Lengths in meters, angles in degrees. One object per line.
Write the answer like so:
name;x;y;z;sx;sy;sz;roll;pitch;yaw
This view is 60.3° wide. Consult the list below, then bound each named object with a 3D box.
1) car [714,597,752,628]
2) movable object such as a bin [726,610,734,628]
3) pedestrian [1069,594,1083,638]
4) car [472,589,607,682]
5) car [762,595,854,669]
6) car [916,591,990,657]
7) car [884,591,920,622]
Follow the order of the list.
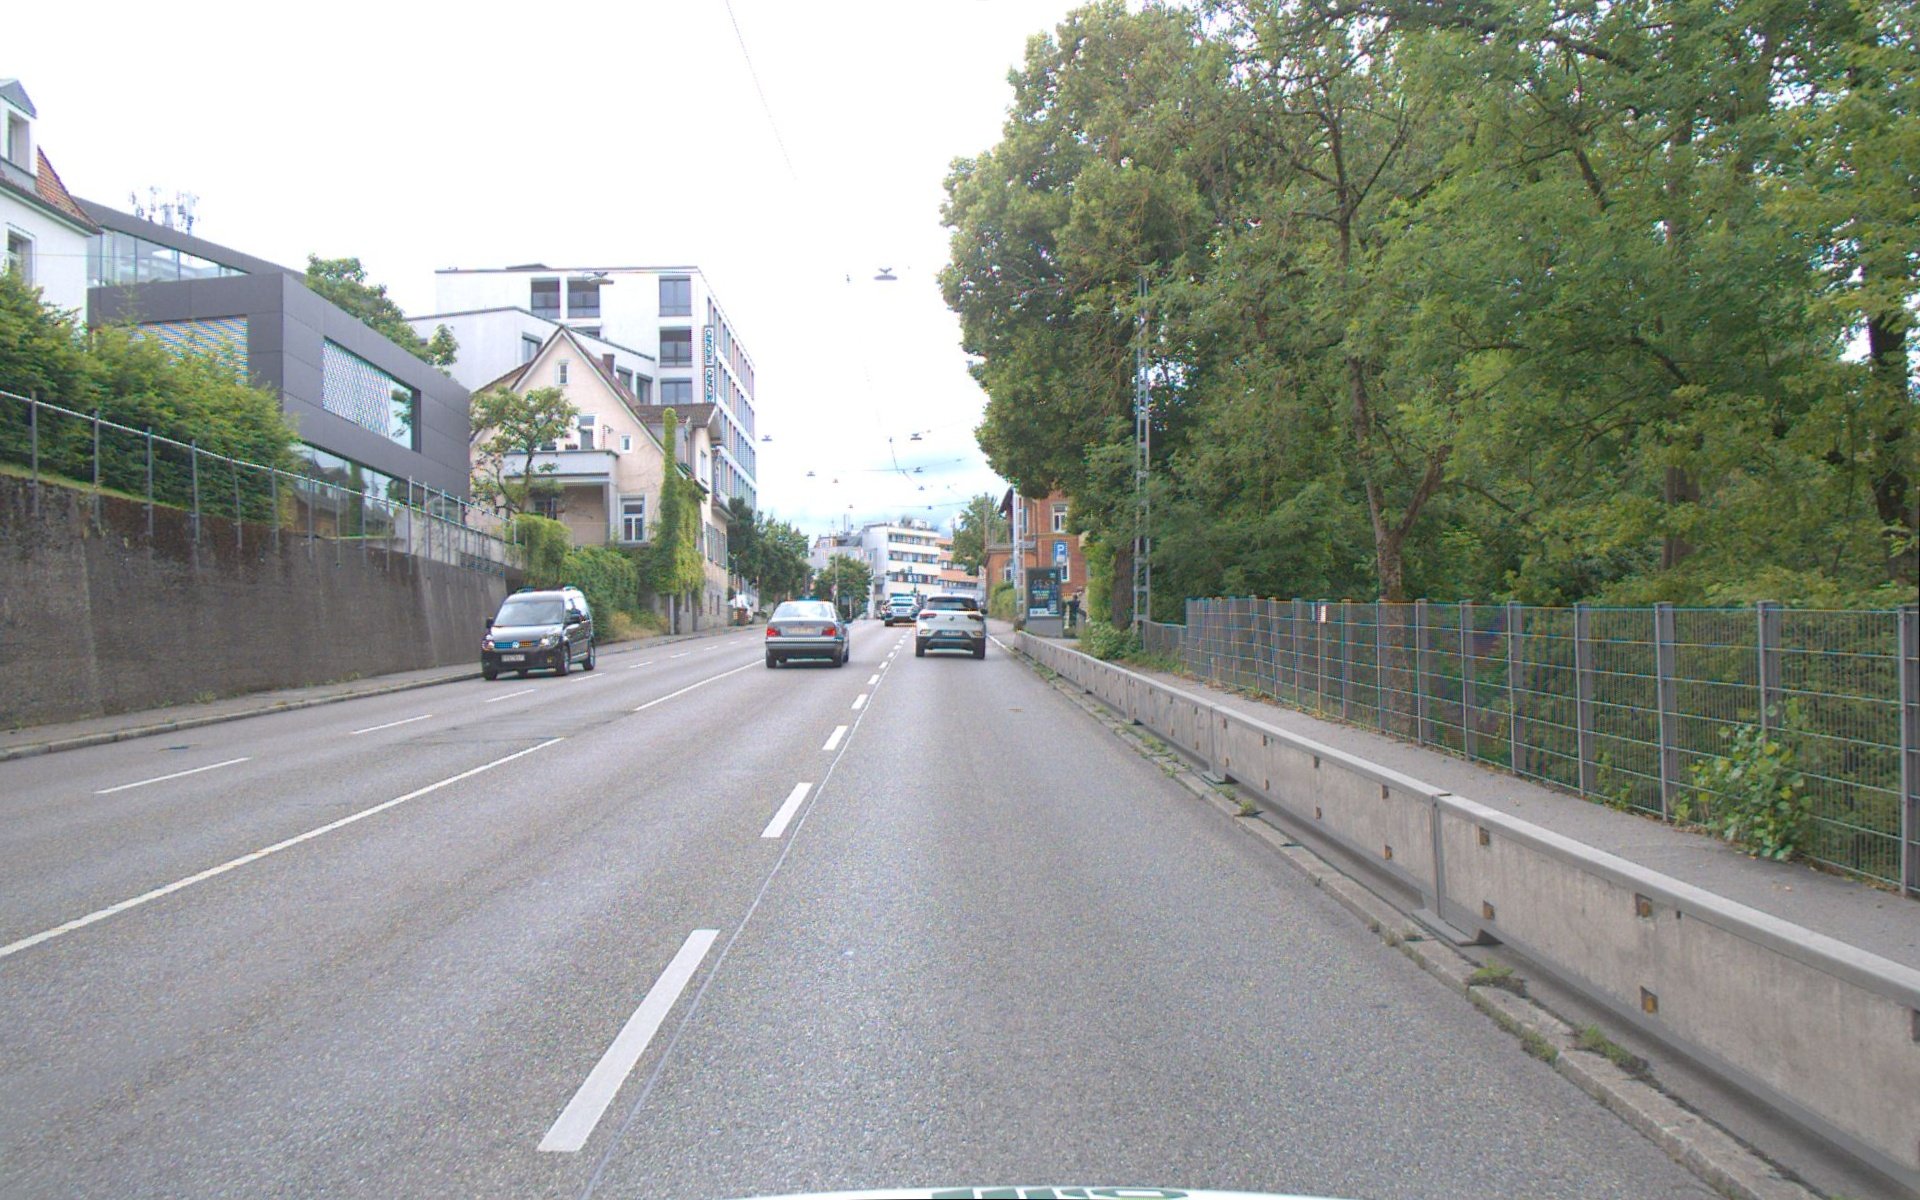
car;-13.150;0.713;95.911;1.955;1.731;3.996;-1;0;-5
movable object such as a bin;-12.958;1.057;93.048;0.417;0.982;0.359;1;-2;-4
pedestrian;4.740;0.652;67.613;0.499;1.747;0.465;-1;0;-3
car;-9.031;0.714;35.882;1.779;1.815;4.494;-2;0;-1
car;-3.231;0.650;35.811;1.672;1.489;3.999;-1;0;-1
car;-0.216;0.583;41.980;1.744;1.606;3.998;0;0;-2
car;-2.884;0.305;82.431;1.672;1.489;3.999;-1;0;-1
